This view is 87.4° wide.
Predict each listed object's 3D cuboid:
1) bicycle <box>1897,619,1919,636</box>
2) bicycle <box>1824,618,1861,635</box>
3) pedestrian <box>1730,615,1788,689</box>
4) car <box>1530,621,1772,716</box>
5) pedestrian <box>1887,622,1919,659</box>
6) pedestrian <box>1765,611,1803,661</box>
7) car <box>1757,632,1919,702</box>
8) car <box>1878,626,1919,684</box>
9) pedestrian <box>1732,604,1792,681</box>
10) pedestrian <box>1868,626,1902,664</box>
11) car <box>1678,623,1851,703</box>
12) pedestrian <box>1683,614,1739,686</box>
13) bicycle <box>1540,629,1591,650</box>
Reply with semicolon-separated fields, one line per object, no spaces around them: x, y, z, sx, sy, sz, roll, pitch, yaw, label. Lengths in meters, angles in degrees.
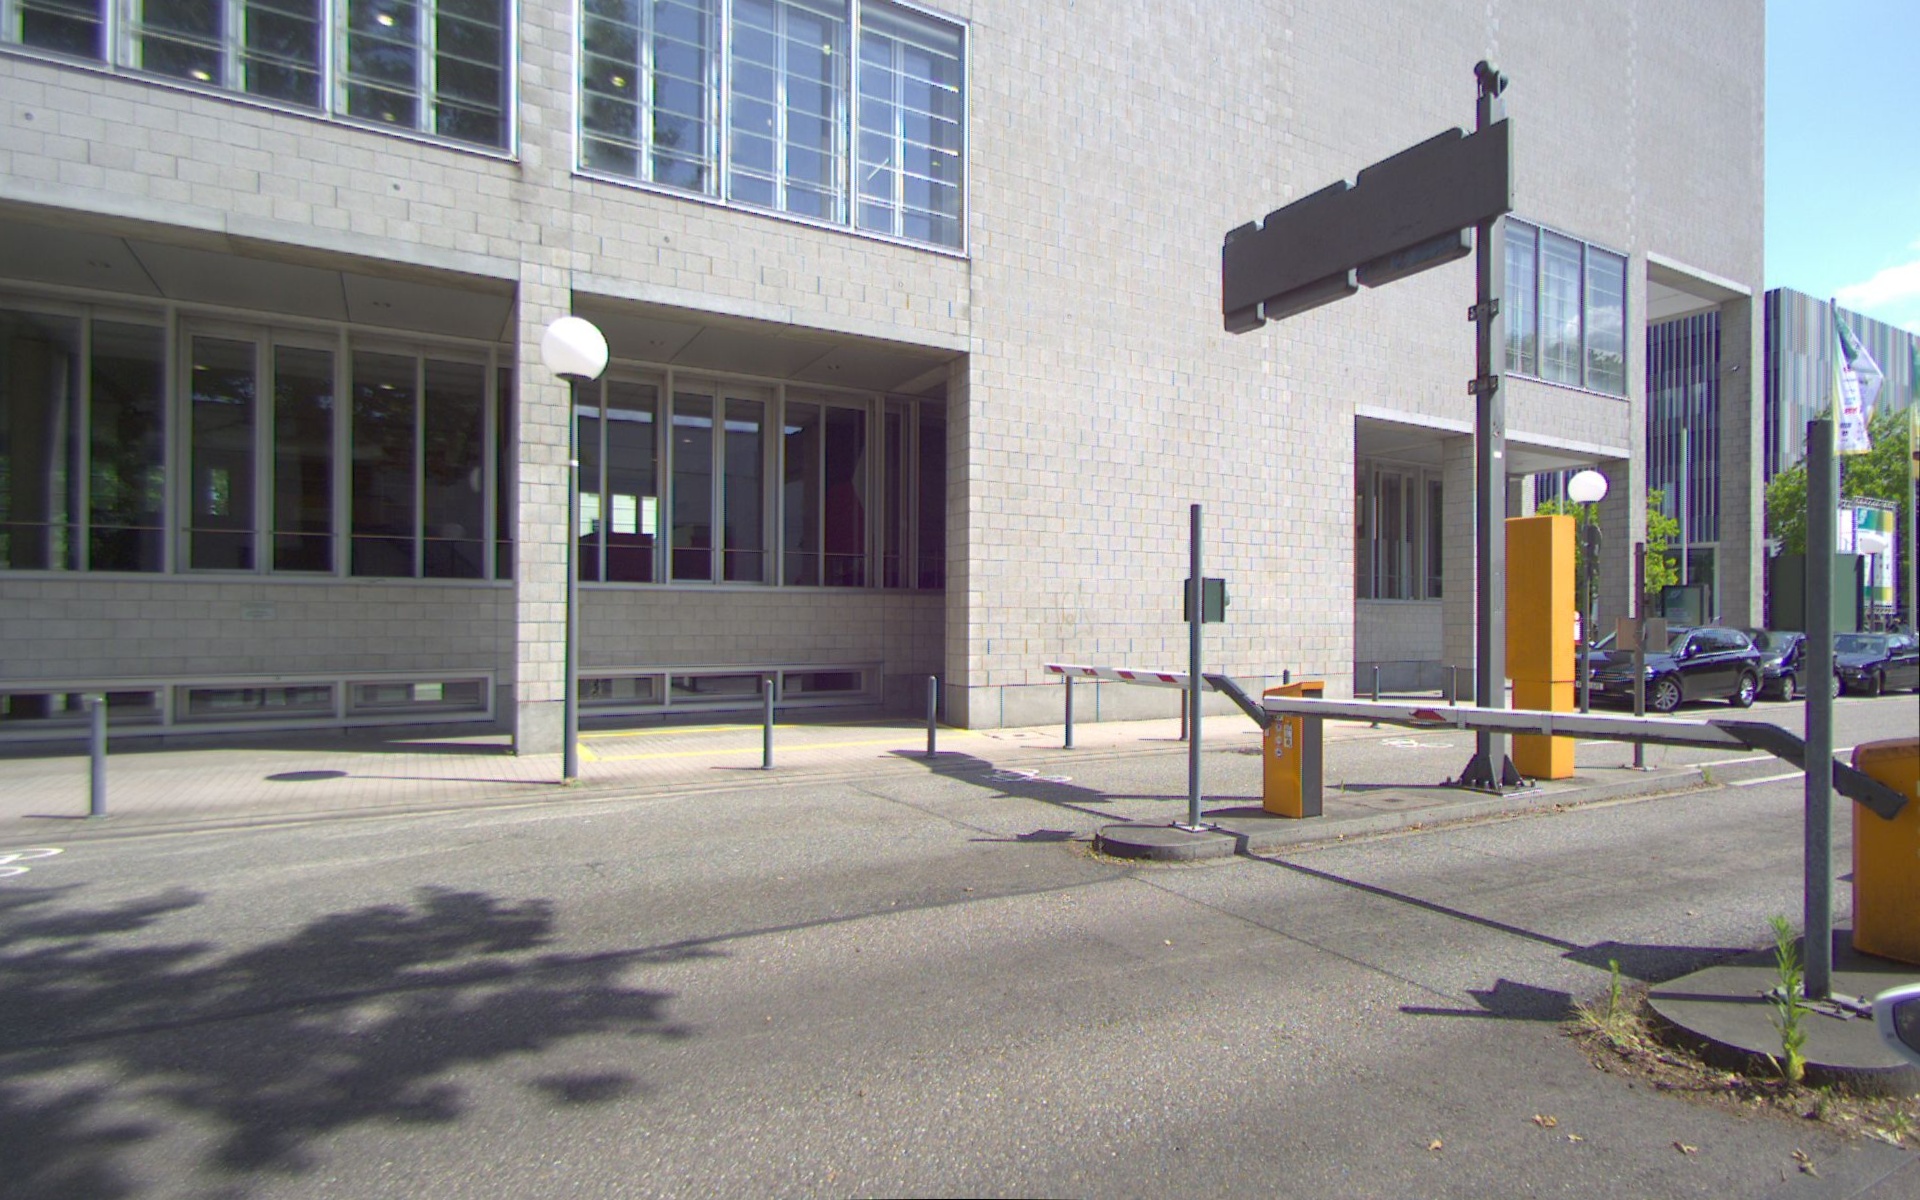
73.266;2.105;77.012;1.178;1.254;2.949;1;-1;25;bicycle
69.256;2.079;78.854;1.351;1.254;2.950;1;-1;23;bicycle
22.480;1.445;28.266;1.153;2.040;0.978;1;-1;-34;pedestrian
12.804;1.184;18.539;4.663;1.487;1.850;1;1;-30;car
47.667;2.049;50.618;1.075;1.843;0.863;0;-1;-6;pedestrian
31.053;1.348;37.854;1.074;1.875;0.717;1;1;-26;pedestrian
21.037;1.508;23.564;4.953;1.396;1.852;1;1;-28;car
27.270;1.504;27.586;4.144;1.487;1.740;1;1;-28;car
21.644;1.130;27.118;1.153;2.040;0.978;1;-1;-34;pedestrian
48.014;2.325;52.128;0.987;1.901;0.854;0;-1;-7;pedestrian
17.104;1.277;21.332;3.663;1.487;1.631;1;1;-30;car
21.750;1.419;29.086;1.153;2.040;0.978;1;-1;-34;pedestrian
36.197;2.347;60.074;0.657;1.128;2.595;1;0;-31;bicycle
